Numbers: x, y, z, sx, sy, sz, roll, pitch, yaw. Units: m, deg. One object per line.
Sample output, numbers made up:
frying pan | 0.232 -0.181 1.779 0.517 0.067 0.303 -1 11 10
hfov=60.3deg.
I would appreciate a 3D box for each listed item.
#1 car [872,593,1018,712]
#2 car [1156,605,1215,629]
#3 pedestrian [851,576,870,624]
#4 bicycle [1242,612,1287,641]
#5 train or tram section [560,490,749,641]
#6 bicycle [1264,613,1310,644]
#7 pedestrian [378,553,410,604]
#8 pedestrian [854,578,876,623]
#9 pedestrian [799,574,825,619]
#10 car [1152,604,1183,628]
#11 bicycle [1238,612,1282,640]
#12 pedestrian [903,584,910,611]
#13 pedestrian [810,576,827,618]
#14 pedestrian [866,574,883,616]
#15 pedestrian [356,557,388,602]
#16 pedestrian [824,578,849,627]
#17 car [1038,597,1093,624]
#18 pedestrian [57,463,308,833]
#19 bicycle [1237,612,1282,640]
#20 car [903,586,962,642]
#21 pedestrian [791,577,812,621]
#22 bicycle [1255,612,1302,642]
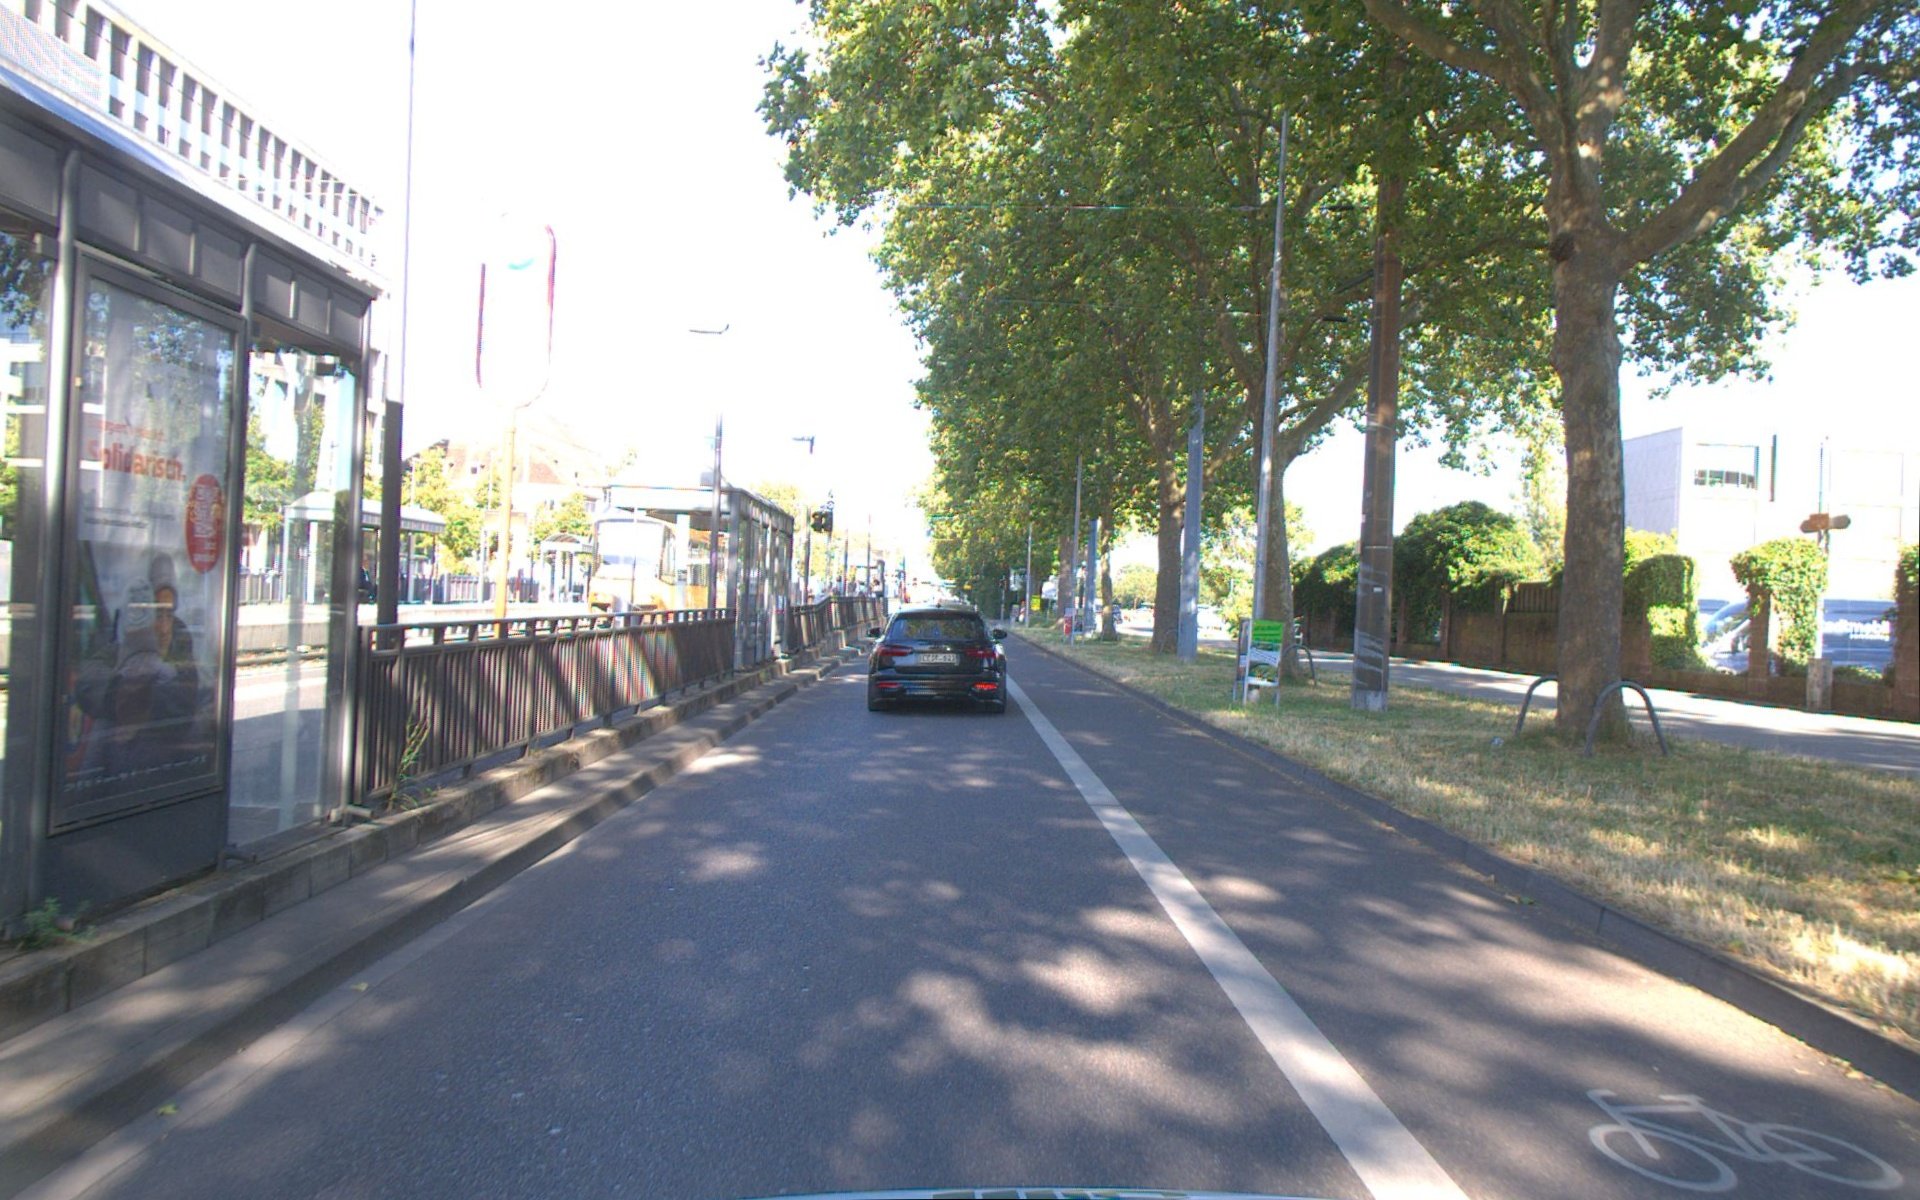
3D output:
car | -0.270 0.661 22.699 1.840 1.482 3.355 1 0 -3
car | 17.725 1.332 130.097 4.365 1.687 1.918 3 0 4
pedestrian | -3.630 0.003 60.415 0.599 1.697 0.613 3 0 1
bicycle | 12.436 1.084 67.610 1.737 1.140 0.439 1 0 -2
train or tram section | -9.122 -0.922 51.593 3.242 3.896 14.216 3 0 -1
bicycle | 12.545 1.085 63.462 1.653 1.140 0.439 1 0 -2
pedestrian | -17.630 -0.661 51.522 0.601 1.554 0.725 2 0 8
pedestrian | -3.546 0.018 61.550 0.602 1.671 0.610 3 0 -20
pedestrian | -6.172 -0.155 68.946 0.788 1.815 0.639 3 0 -41
car | 14.149 1.073 112.762 1.581 1.542 3.803 3 0 0
bicycle | 12.649 1.076 69.745 1.737 1.140 0.439 1 0 -2
pedestrian | -3.557 -0.161 109.861 0.403 1.746 0.665 3 0 -1
pedestrian | -6.182 -0.135 72.230 0.599 1.815 0.775 3 0 0
pedestrian | -3.764 -0.240 72.822 0.599 1.815 0.613 3 0 0
pedestrian | -17.415 -0.610 49.017 0.601 1.282 0.725 3 0 3
pedestrian | -4.071 0.080 54.628 0.601 1.576 0.725 2 0 10
car | 7.731 0.743 121.359 3.905 1.795 1.833 3 0 0
pedestrian | -3.414 0.200 7.313 0.730 1.535 0.666 2 0 2
bicycle | 12.436 1.077 68.697 1.737 1.140 0.439 1 0 -2
car | -0.915 0.428 53.599 1.727 1.647 3.998 3 0 -3
pedestrian | -6.677 -0.056 69.754 0.777 1.815 0.625 3 0 0
bicycle | 12.611 1.077 65.480 1.737 1.140 0.439 1 0 -2
